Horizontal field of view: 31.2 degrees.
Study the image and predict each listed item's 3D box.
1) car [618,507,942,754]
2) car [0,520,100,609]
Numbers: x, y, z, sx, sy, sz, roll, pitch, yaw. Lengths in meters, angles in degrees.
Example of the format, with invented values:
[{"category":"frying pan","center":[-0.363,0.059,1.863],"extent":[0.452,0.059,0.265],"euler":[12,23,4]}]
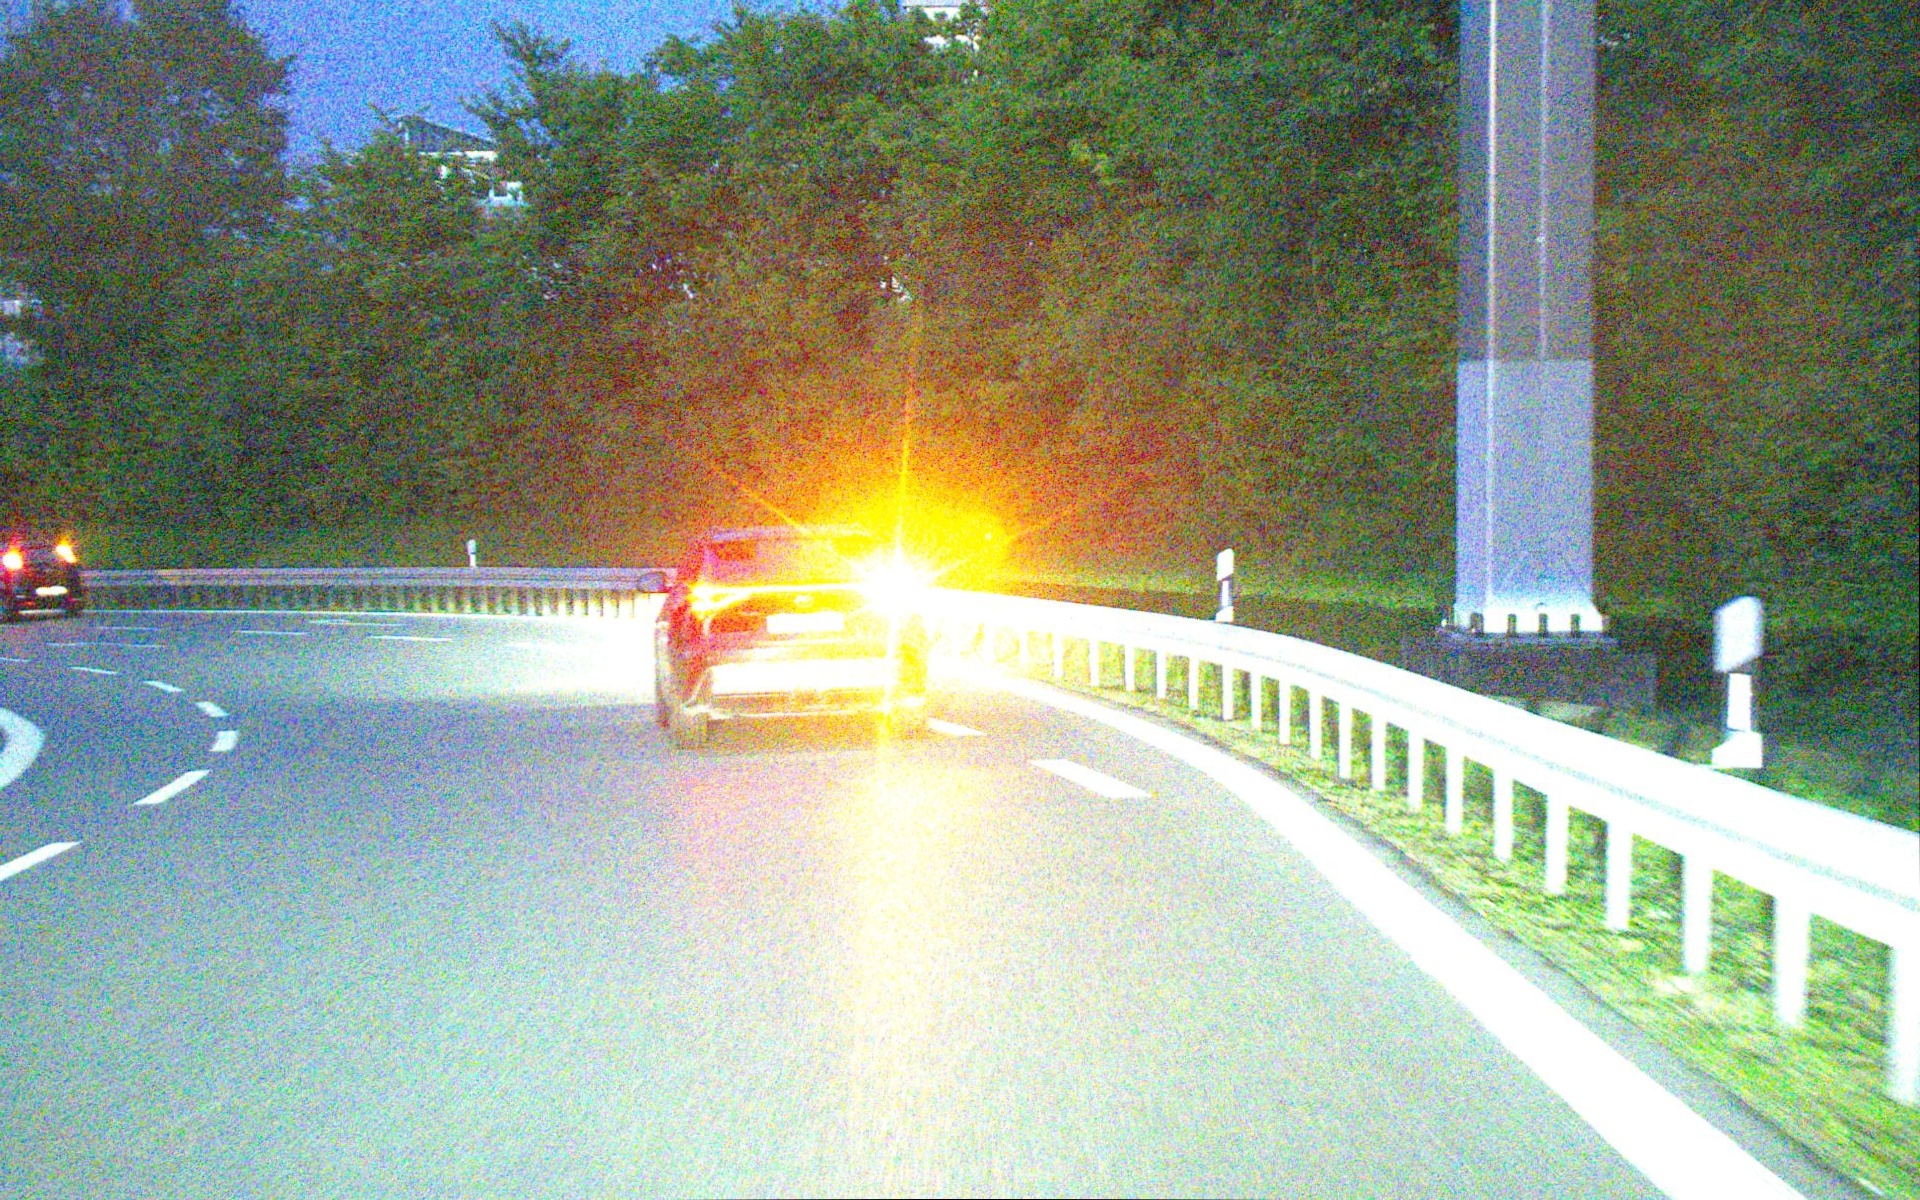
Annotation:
[{"category":"car","center":[-1.445,0.154,25.863],"extent":[1.993,1.653,4.316],"euler":[-1,2,-9]},{"category":"car","center":[-18.357,-0.712,65.531],"extent":[1.995,1.593,3.998],"euler":[1,2,-45]}]
